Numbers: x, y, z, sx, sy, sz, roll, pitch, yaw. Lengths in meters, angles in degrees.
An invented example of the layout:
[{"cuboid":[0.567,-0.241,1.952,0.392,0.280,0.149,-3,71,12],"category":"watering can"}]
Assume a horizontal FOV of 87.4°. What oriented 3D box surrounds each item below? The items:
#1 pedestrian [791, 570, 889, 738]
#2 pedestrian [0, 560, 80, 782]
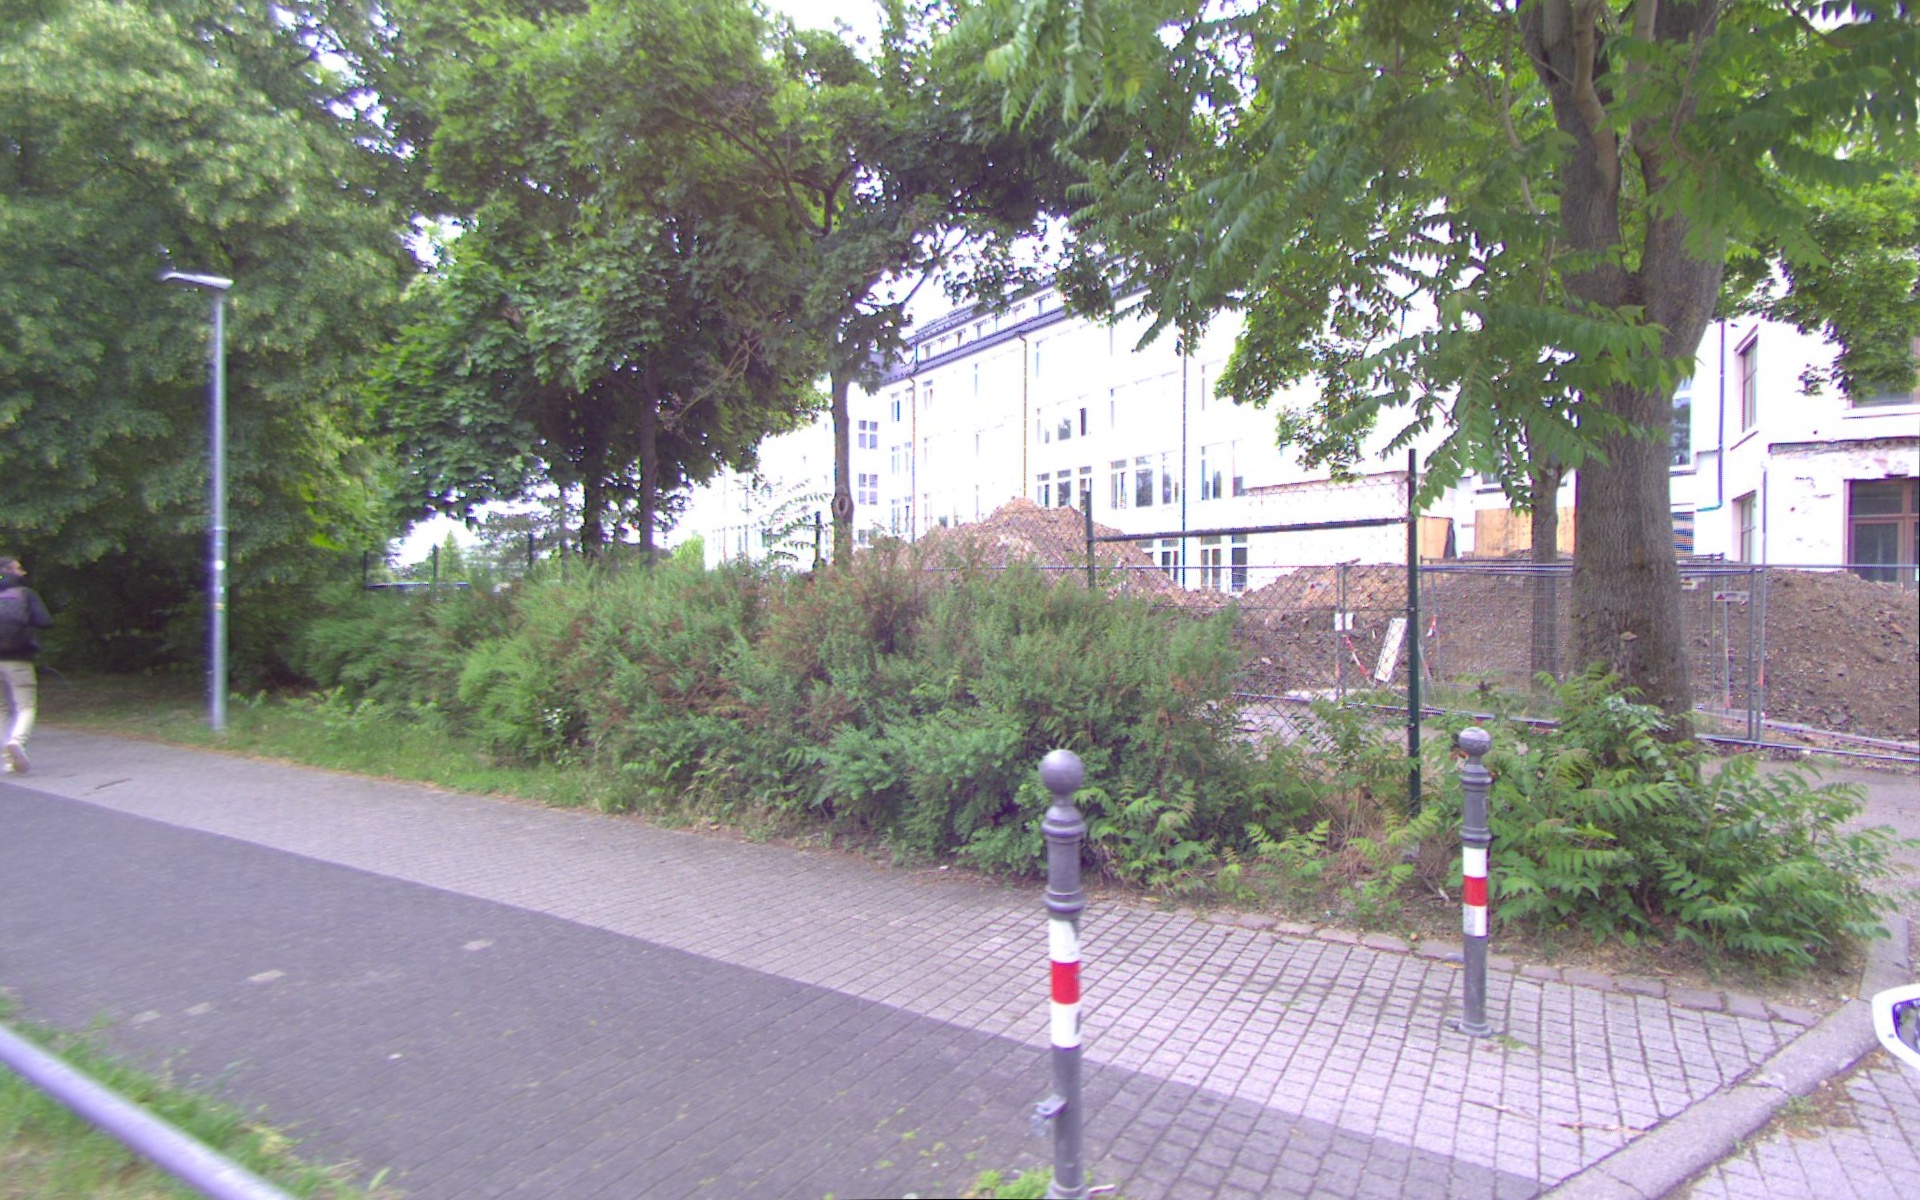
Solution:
[{"cuboid":[-1.595,0.679,13.253,0.787,2.092,1.188,1,0,-37],"category":"pedestrian"},{"cuboid":[-7.795,0.568,8.286,0.673,1.773,0.616,0,0,-29],"category":"pedestrian"}]
